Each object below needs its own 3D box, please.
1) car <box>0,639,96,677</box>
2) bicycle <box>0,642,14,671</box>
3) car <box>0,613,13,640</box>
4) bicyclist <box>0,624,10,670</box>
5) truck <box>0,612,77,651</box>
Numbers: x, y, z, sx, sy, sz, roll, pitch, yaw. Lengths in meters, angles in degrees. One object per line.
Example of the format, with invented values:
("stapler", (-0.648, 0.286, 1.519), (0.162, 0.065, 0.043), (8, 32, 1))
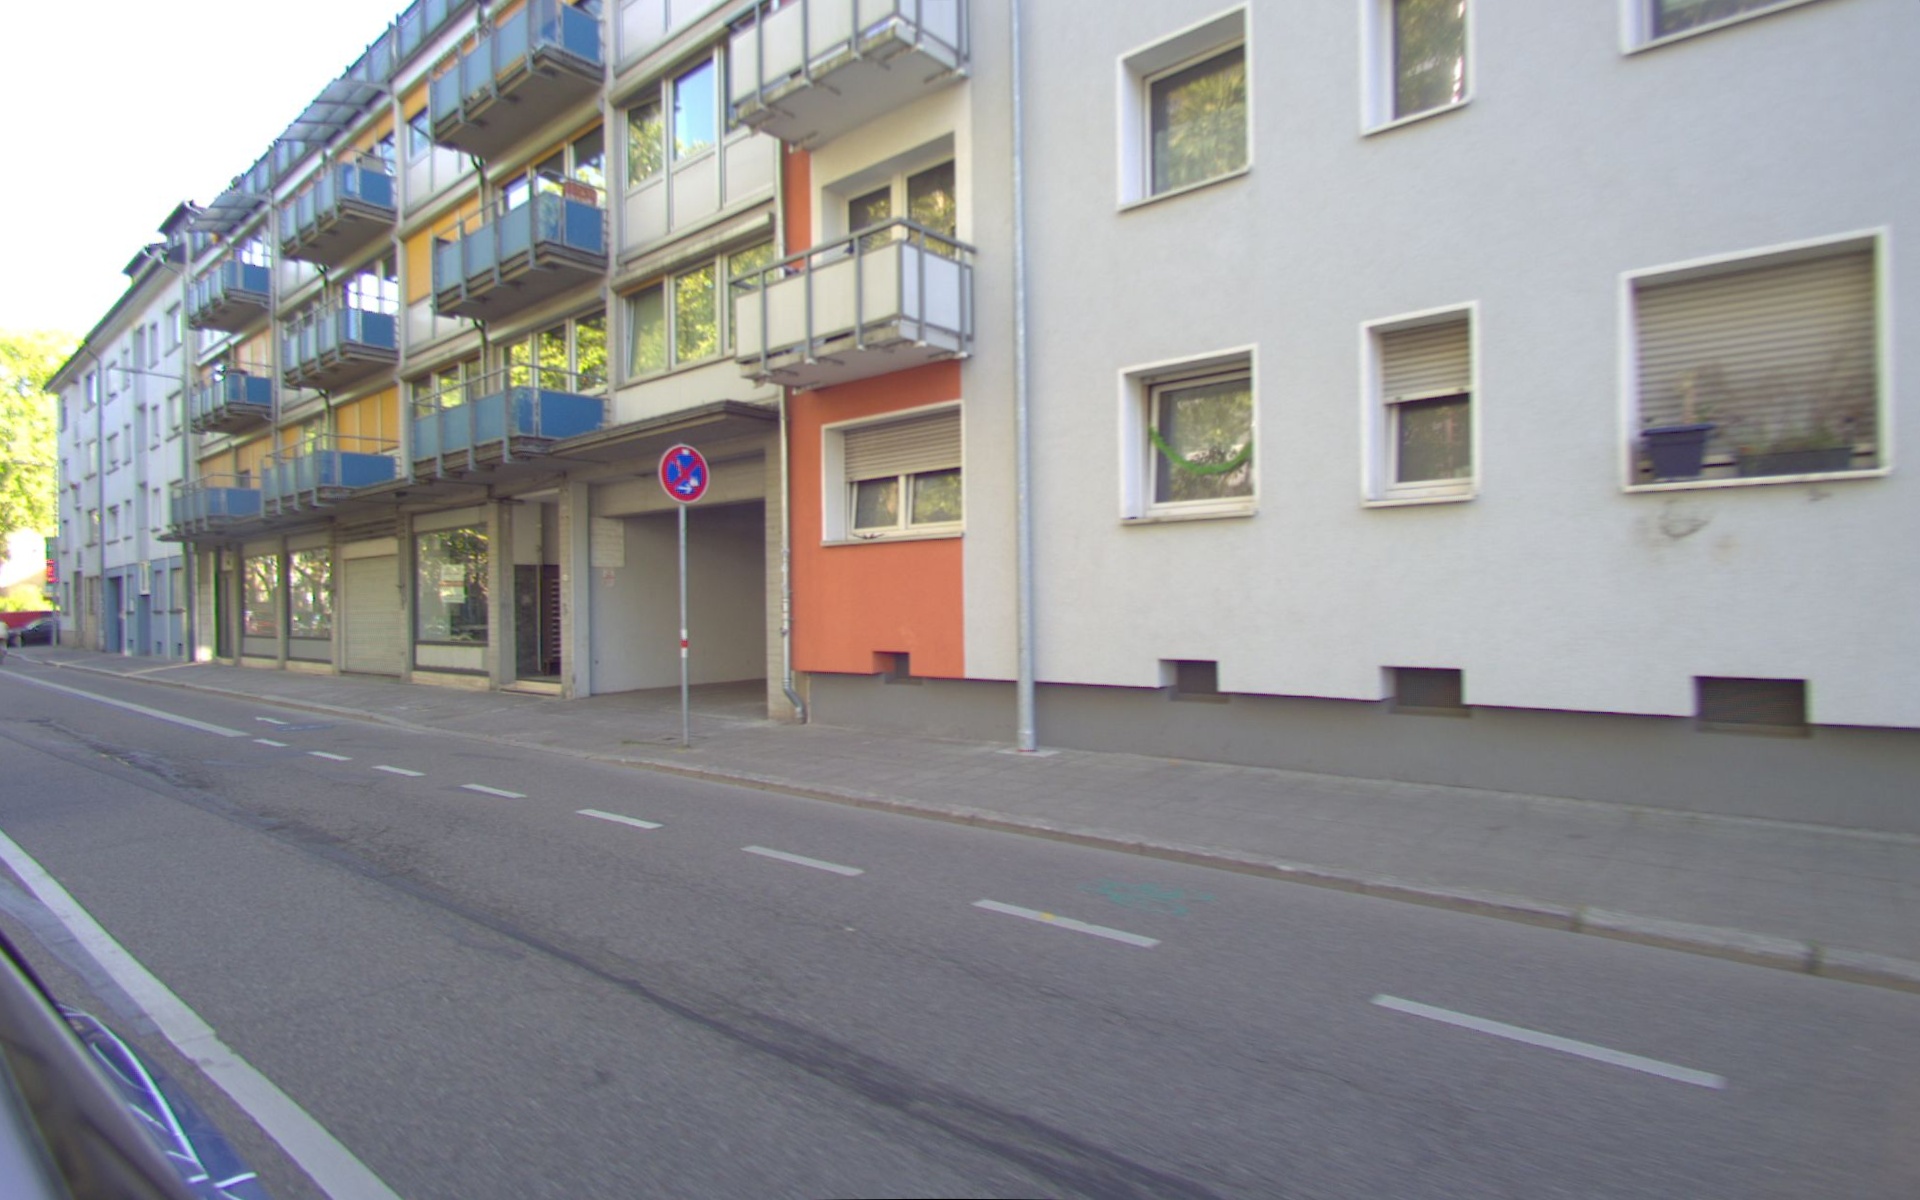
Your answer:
("car", (-50.933, 3.211, 56.440), (1.829, 1.849, 3.948), (-1, 0, 39))
("bicycle", (-34.993, 2.033, 36.692), (2.630, 0.994, 0.683), (-1, -1, 40))
("car", (-74.177, 2.060, 76.211), (1.998, 2.029, 3.948), (-1, 0, 39))
("bicyclist", (-35.022, 1.704, 36.722), (0.758, 1.643, 0.683), (-1, -1, 40))
("truck", (-55.116, 1.852, 59.707), (1.876, 2.174, 4.349), (-1, 0, 39))
